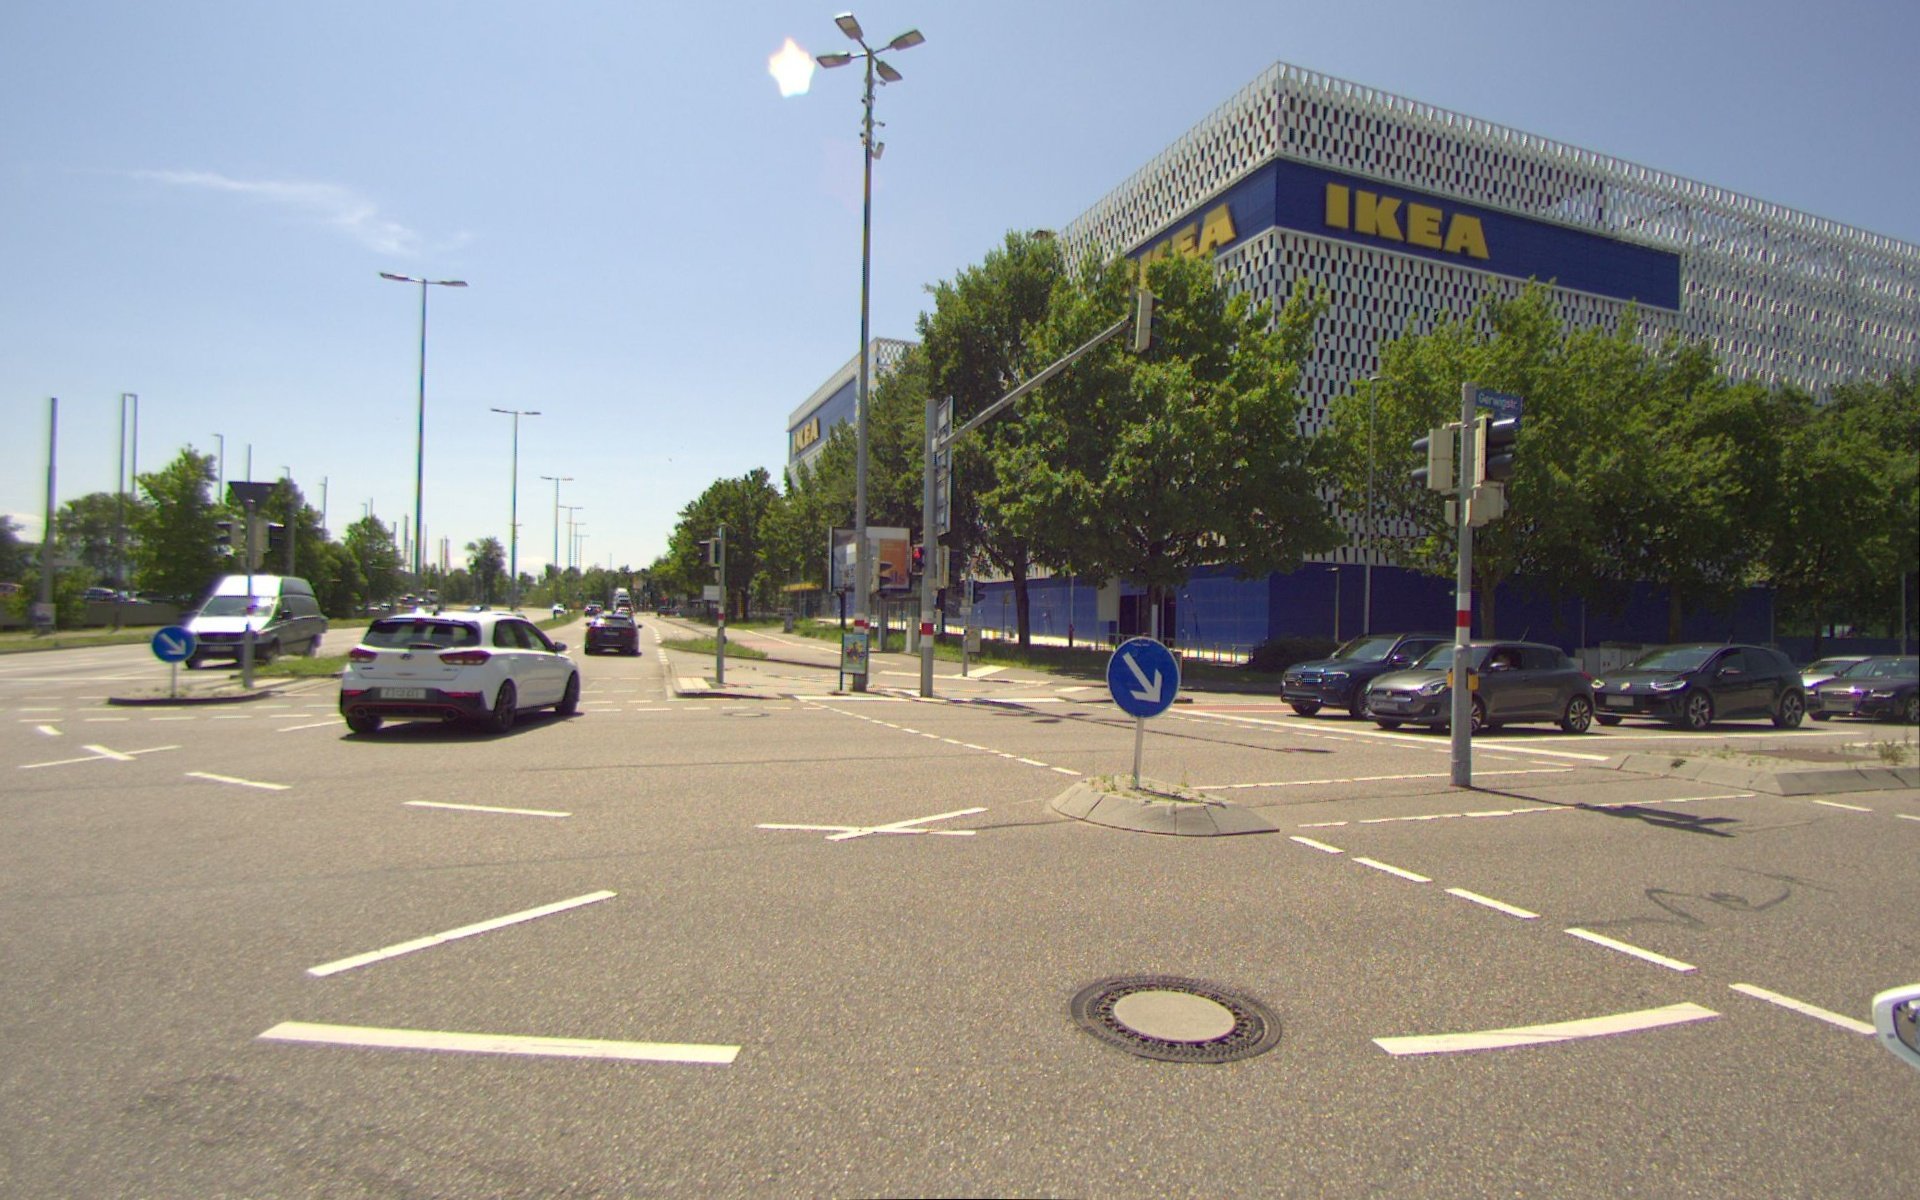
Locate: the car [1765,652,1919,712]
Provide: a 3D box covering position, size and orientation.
[{"bbox_3d":[23.551,2.120,26.447,4.557,1.441,1.742,2,-3,-23],"label":"car"}]

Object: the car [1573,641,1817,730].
[{"bbox_3d":[13.772,1.583,18.830,4.181,1.525,1.724,2,-3,-22],"label":"car"}]

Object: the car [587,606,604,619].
[{"bbox_3d":[-47.492,1.625,130.938,1.895,1.572,3.594,2,-1,-18],"label":"car"}]

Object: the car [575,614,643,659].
[{"bbox_3d":[-13.262,1.418,37.788,1.781,1.459,4.526,2,-5,-27],"label":"car"}]

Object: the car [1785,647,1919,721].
[{"bbox_3d":[20.096,1.784,21.423,4.647,1.464,1.725,2,-3,-20],"label":"car"}]

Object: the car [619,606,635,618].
[{"bbox_3d":[-46.148,1.704,139.218,1.970,1.572,3.981,2,-1,-21],"label":"car"}]

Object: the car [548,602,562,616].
[{"bbox_3d":[-60.947,1.388,151.116,1.789,2.040,3.981,1,-1,-20],"label":"car"}]

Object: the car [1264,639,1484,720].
[{"bbox_3d":[8.094,1.542,19.620,3.980,1.442,1.657,2,-2,-23],"label":"car"}]

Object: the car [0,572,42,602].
[{"bbox_3d":[-69.483,-0.962,72.461,4.266,2.040,1.990,2,-1,-22],"label":"car"}]

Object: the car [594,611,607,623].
[{"bbox_3d":[-49.013,2.336,136.969,1.619,1.572,3.408,2,-1,-18],"label":"car"}]

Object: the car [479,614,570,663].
[{"bbox_3d":[-13.674,1.194,31.739,1.667,1.441,4.003,0,-2,-9],"label":"car"}]

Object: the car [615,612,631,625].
[{"bbox_3d":[-43.302,2.399,129.002,1.969,1.572,3.983,2,-1,-19],"label":"car"}]

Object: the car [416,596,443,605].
[{"bbox_3d":[-90.126,0.123,170.517,3.963,1.441,1.684,2,-1,-31],"label":"car"}]

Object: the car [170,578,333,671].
[{"bbox_3d":[-18.496,0.631,26.540,1.968,2.212,5.031,1,-1,-17],"label":"car"}]

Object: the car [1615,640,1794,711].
[{"bbox_3d":[17.794,1.796,24.000,3.859,1.564,1.723,2,-2,-23],"label":"car"}]

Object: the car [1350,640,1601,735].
[{"bbox_3d":[8.388,1.407,16.372,3.661,1.407,1.641,2,-3,-22],"label":"car"}]

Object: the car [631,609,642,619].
[{"bbox_3d":[-53.193,2.284,165.187,1.529,1.572,3.408,2,-1,-18],"label":"car"}]

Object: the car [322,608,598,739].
[{"bbox_3d":[-6.380,0.907,13.396,1.759,1.455,4.070,1,-2,-3],"label":"car"}]
